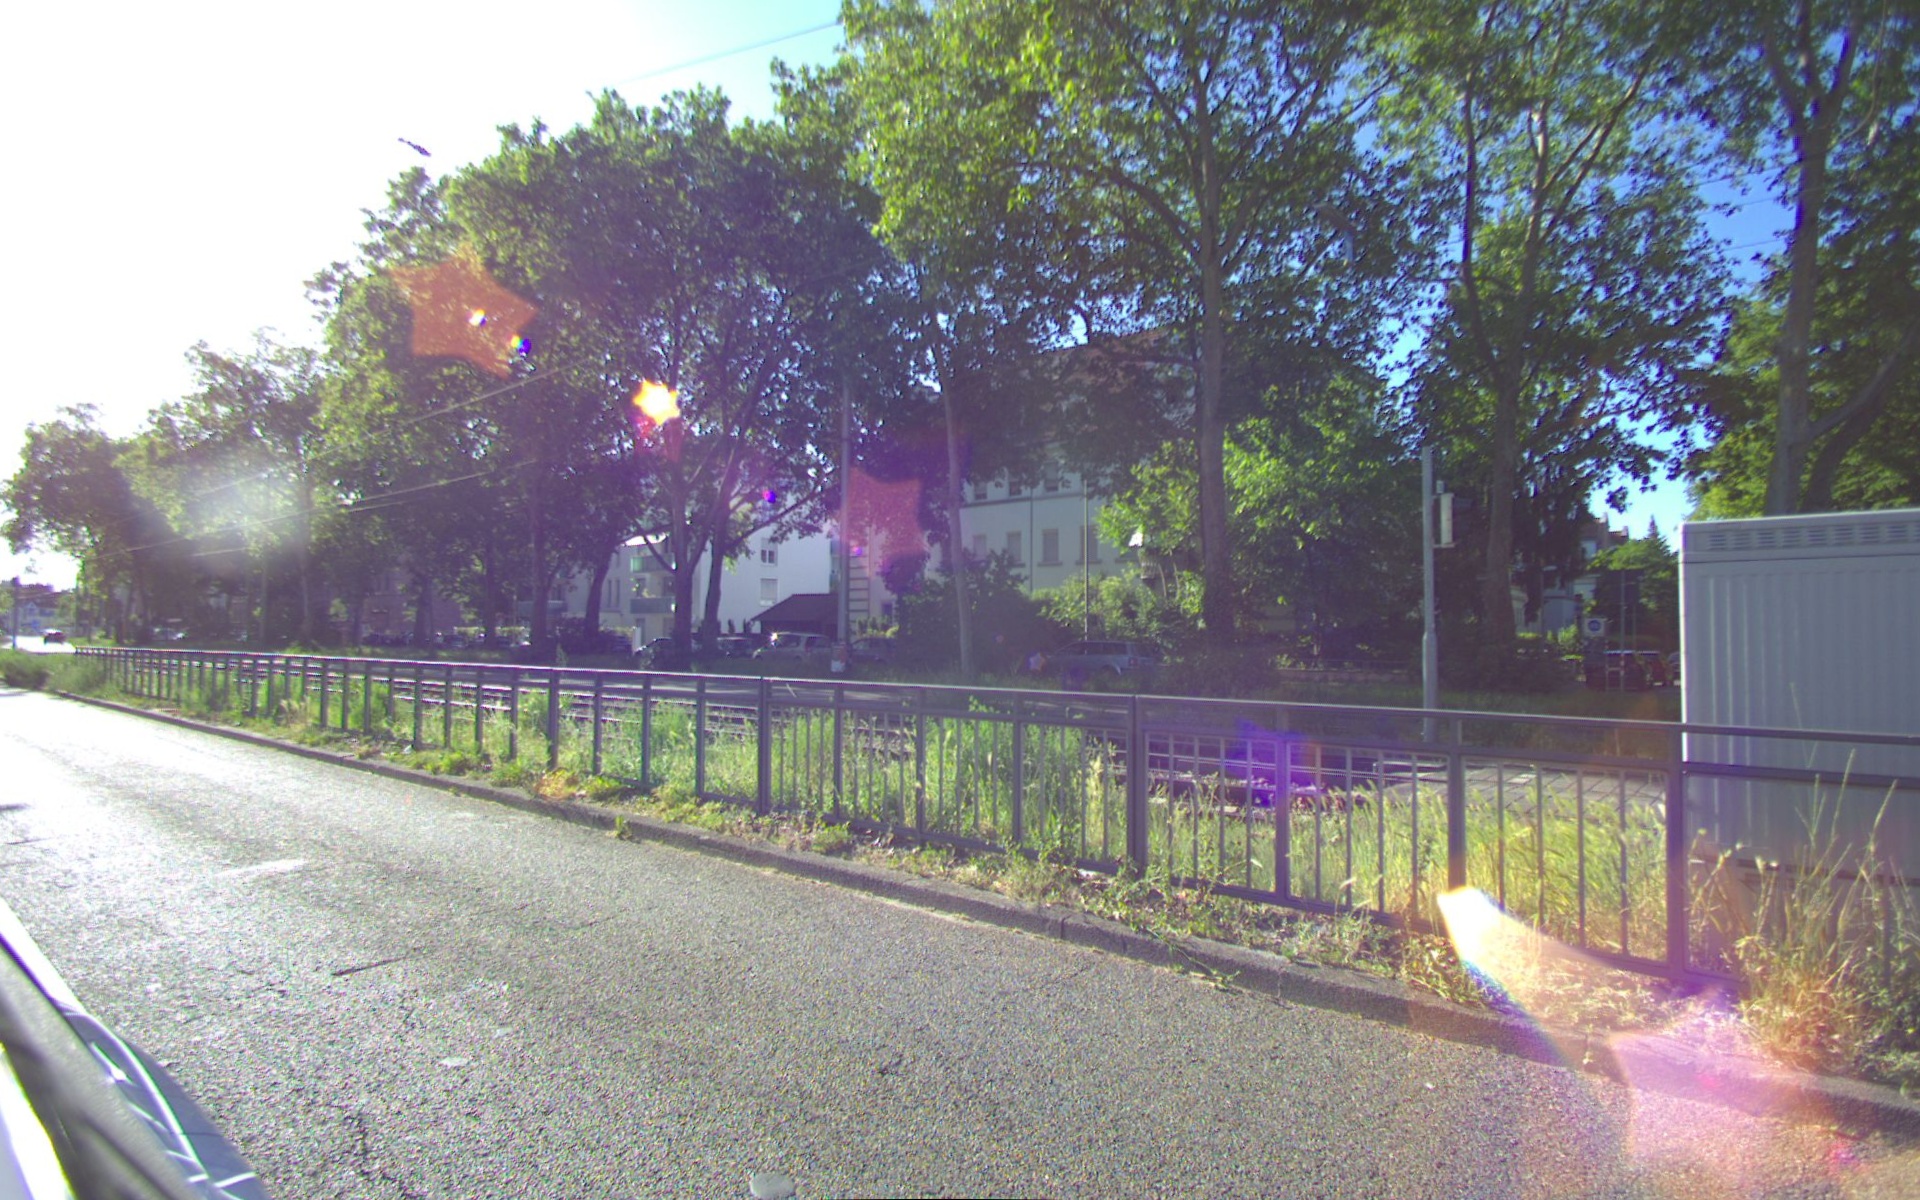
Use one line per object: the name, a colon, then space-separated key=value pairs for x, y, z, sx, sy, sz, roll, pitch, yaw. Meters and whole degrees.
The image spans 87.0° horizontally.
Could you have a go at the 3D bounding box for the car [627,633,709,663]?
car: x=-13.973 y=2.292 z=48.319 sx=4.459 sy=1.334 sz=1.623 roll=-2 pitch=-5 yaw=42

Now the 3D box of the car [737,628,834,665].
car: x=-7.368 y=1.940 z=42.540 sx=4.317 sy=1.451 sz=1.717 roll=-2 pitch=-3 yaw=42

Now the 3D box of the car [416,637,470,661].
car: x=-33.275 y=3.154 z=65.141 sx=3.998 sy=1.484 sz=1.778 roll=-2 pitch=-3 yaw=41

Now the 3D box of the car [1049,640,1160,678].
car: x=4.588 y=1.852 z=32.212 sx=3.213 sy=1.125 sz=1.458 roll=-2 pitch=-3 yaw=38

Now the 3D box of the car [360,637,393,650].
car: x=-41.113 y=3.056 z=71.322 sx=3.058 sy=0.883 sz=1.094 roll=-2 pitch=-3 yaw=41

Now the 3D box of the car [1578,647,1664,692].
car: x=23.476 y=2.421 z=35.882 sx=1.999 sy=1.429 sz=3.945 roll=-2 pitch=-3 yaw=41

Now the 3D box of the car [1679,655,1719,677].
car: x=40.766 y=3.643 z=55.817 sx=1.531 sy=1.127 sz=3.083 roll=-2 pitch=-3 yaw=41

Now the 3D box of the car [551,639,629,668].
car: x=-19.204 y=2.749 z=52.485 sx=4.317 sy=1.464 sz=1.972 roll=-2 pitch=-3 yaw=42

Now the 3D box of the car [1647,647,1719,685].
car: x=29.552 y=2.653 z=41.322 sx=1.999 sy=1.429 sz=3.945 roll=-2 pitch=-3 yaw=41

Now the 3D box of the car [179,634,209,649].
car: x=-78.229 y=4.257 z=103.315 sx=3.687 sy=1.497 sz=1.748 roll=-2 pitch=-3 yaw=42

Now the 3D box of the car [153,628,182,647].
car: x=-85.700 y=4.053 z=109.374 sx=1.970 sy=2.029 sz=4.002 roll=3 pitch=-4 yaw=-44

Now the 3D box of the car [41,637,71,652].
car: x=-103.387 y=5.093 z=115.714 sx=4.456 sy=1.660 sz=1.838 roll=-2 pitch=-3 yaw=40
